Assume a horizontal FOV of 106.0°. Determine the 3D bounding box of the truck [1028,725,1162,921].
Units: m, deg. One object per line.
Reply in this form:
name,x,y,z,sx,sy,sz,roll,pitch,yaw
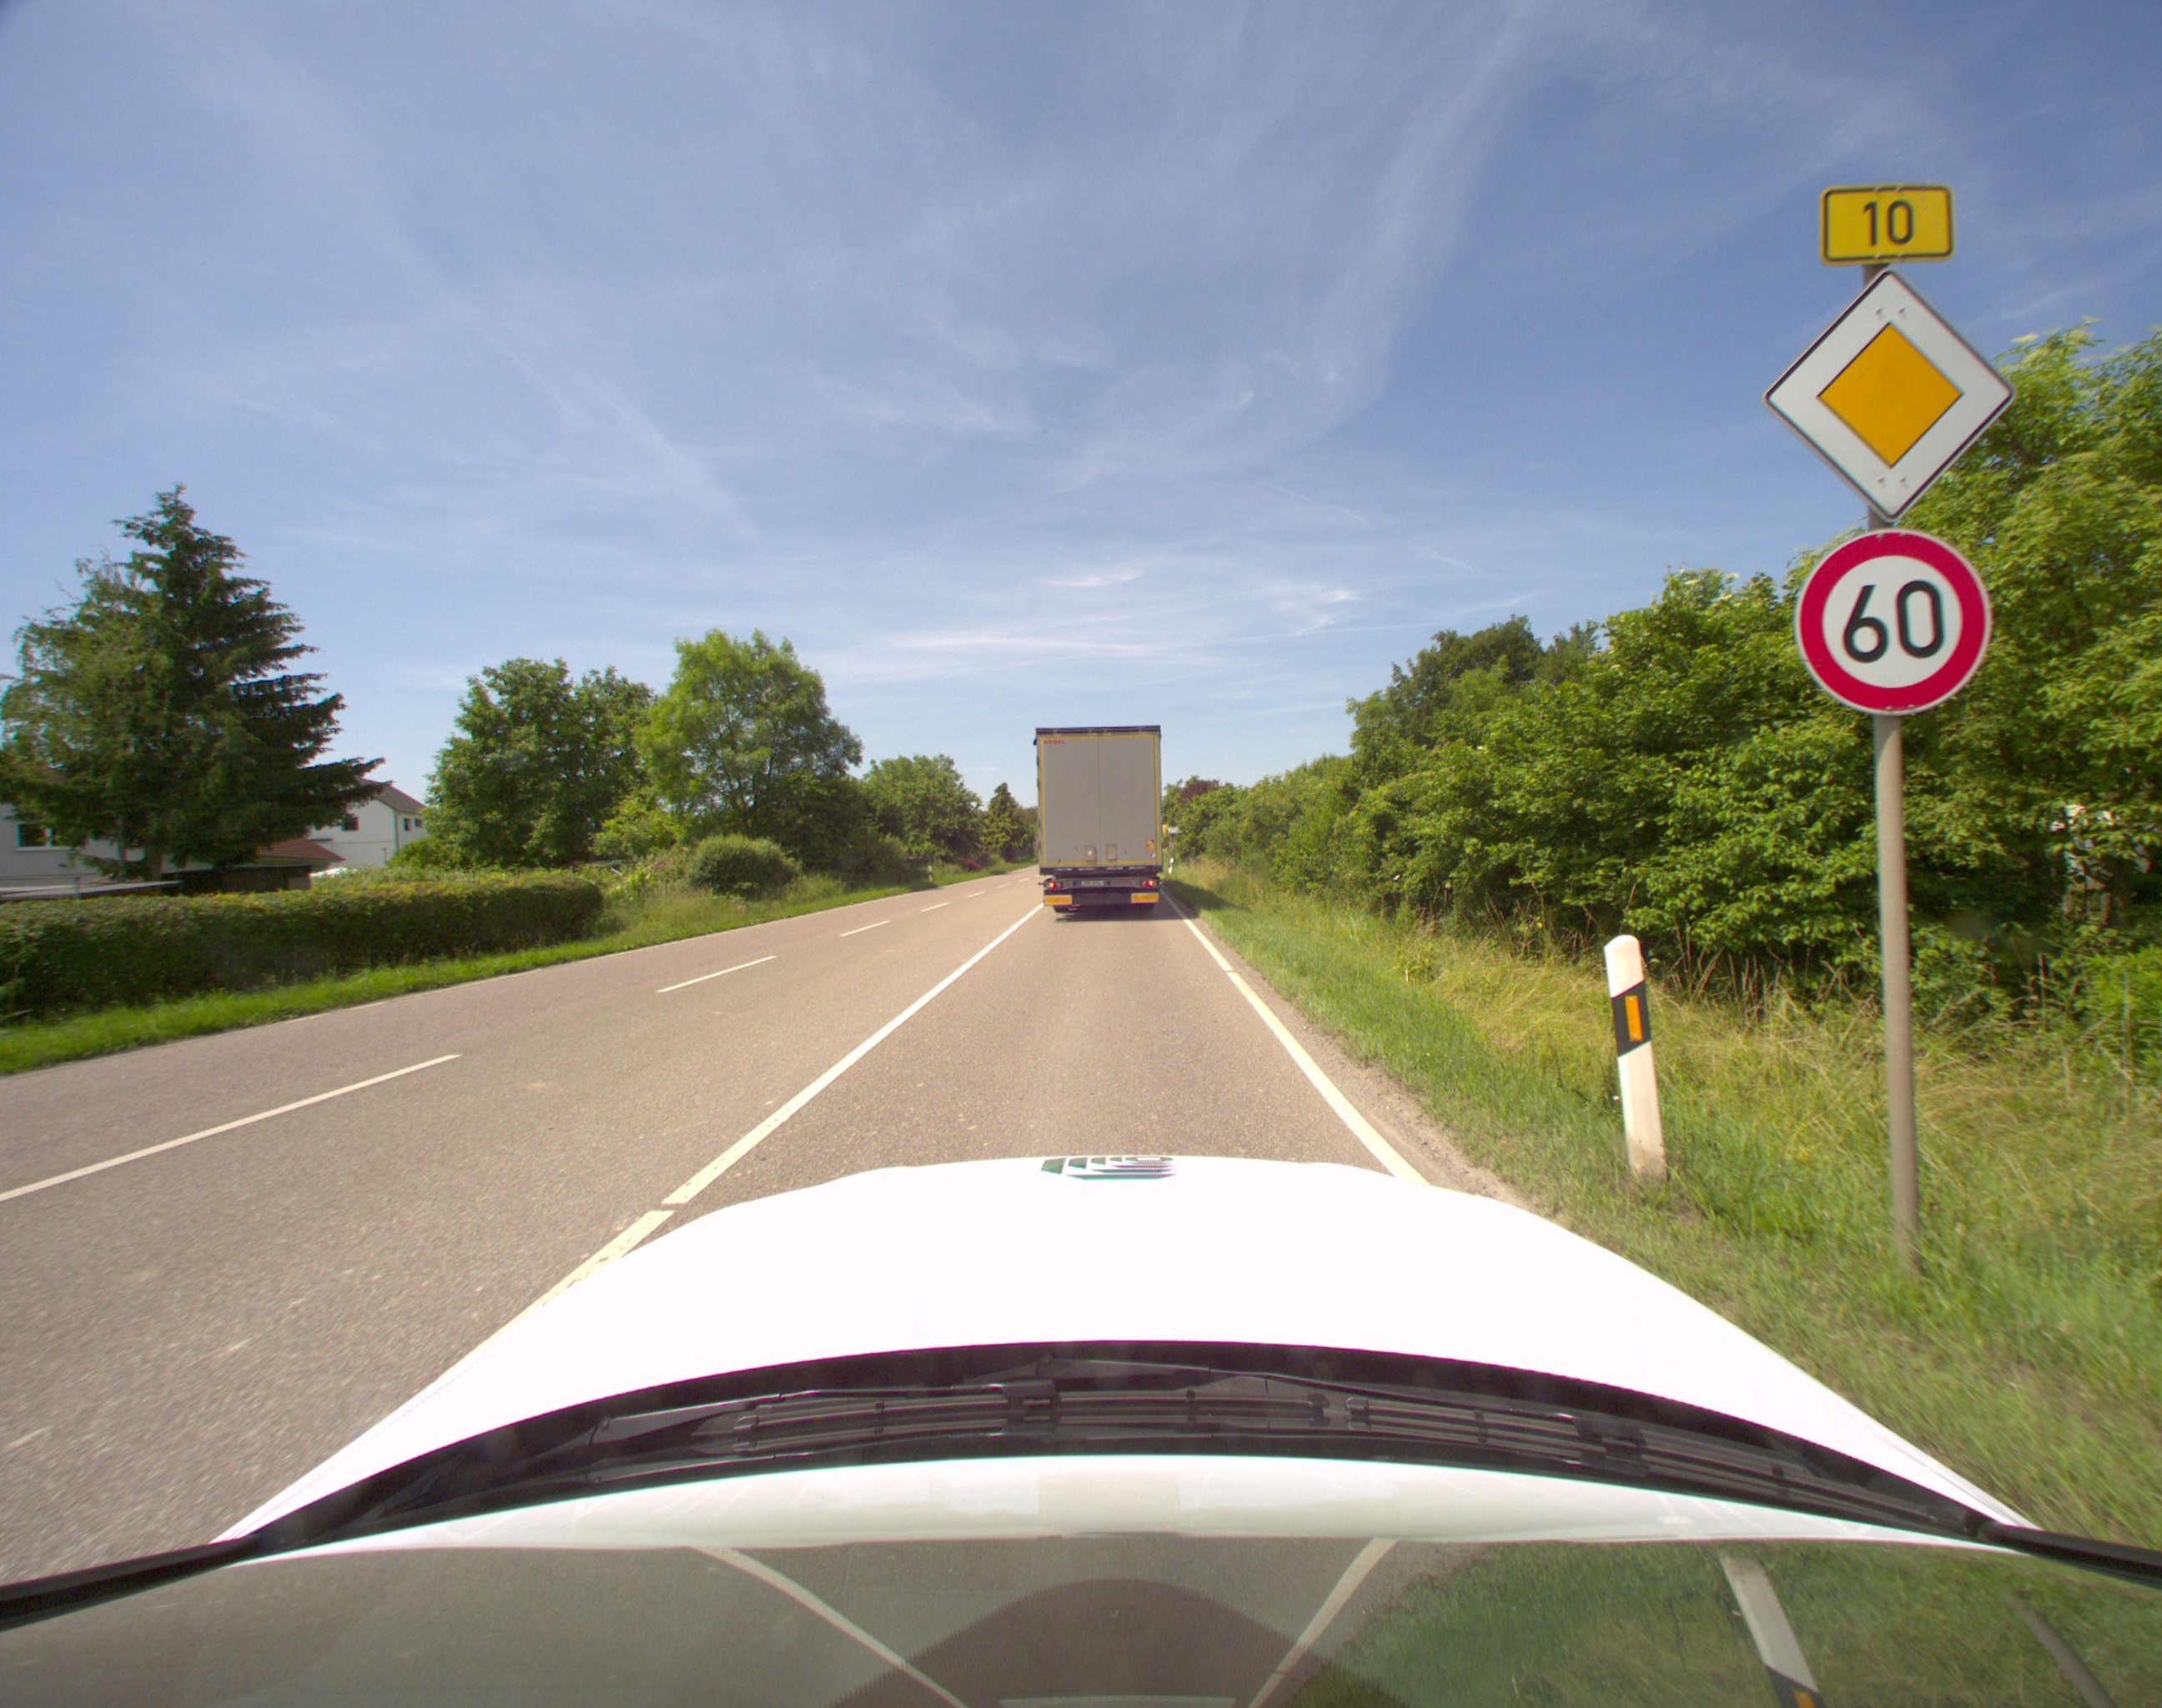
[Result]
truck,0.443,-0.657,20.965,2.637,3.917,8.830,-1,0,2
